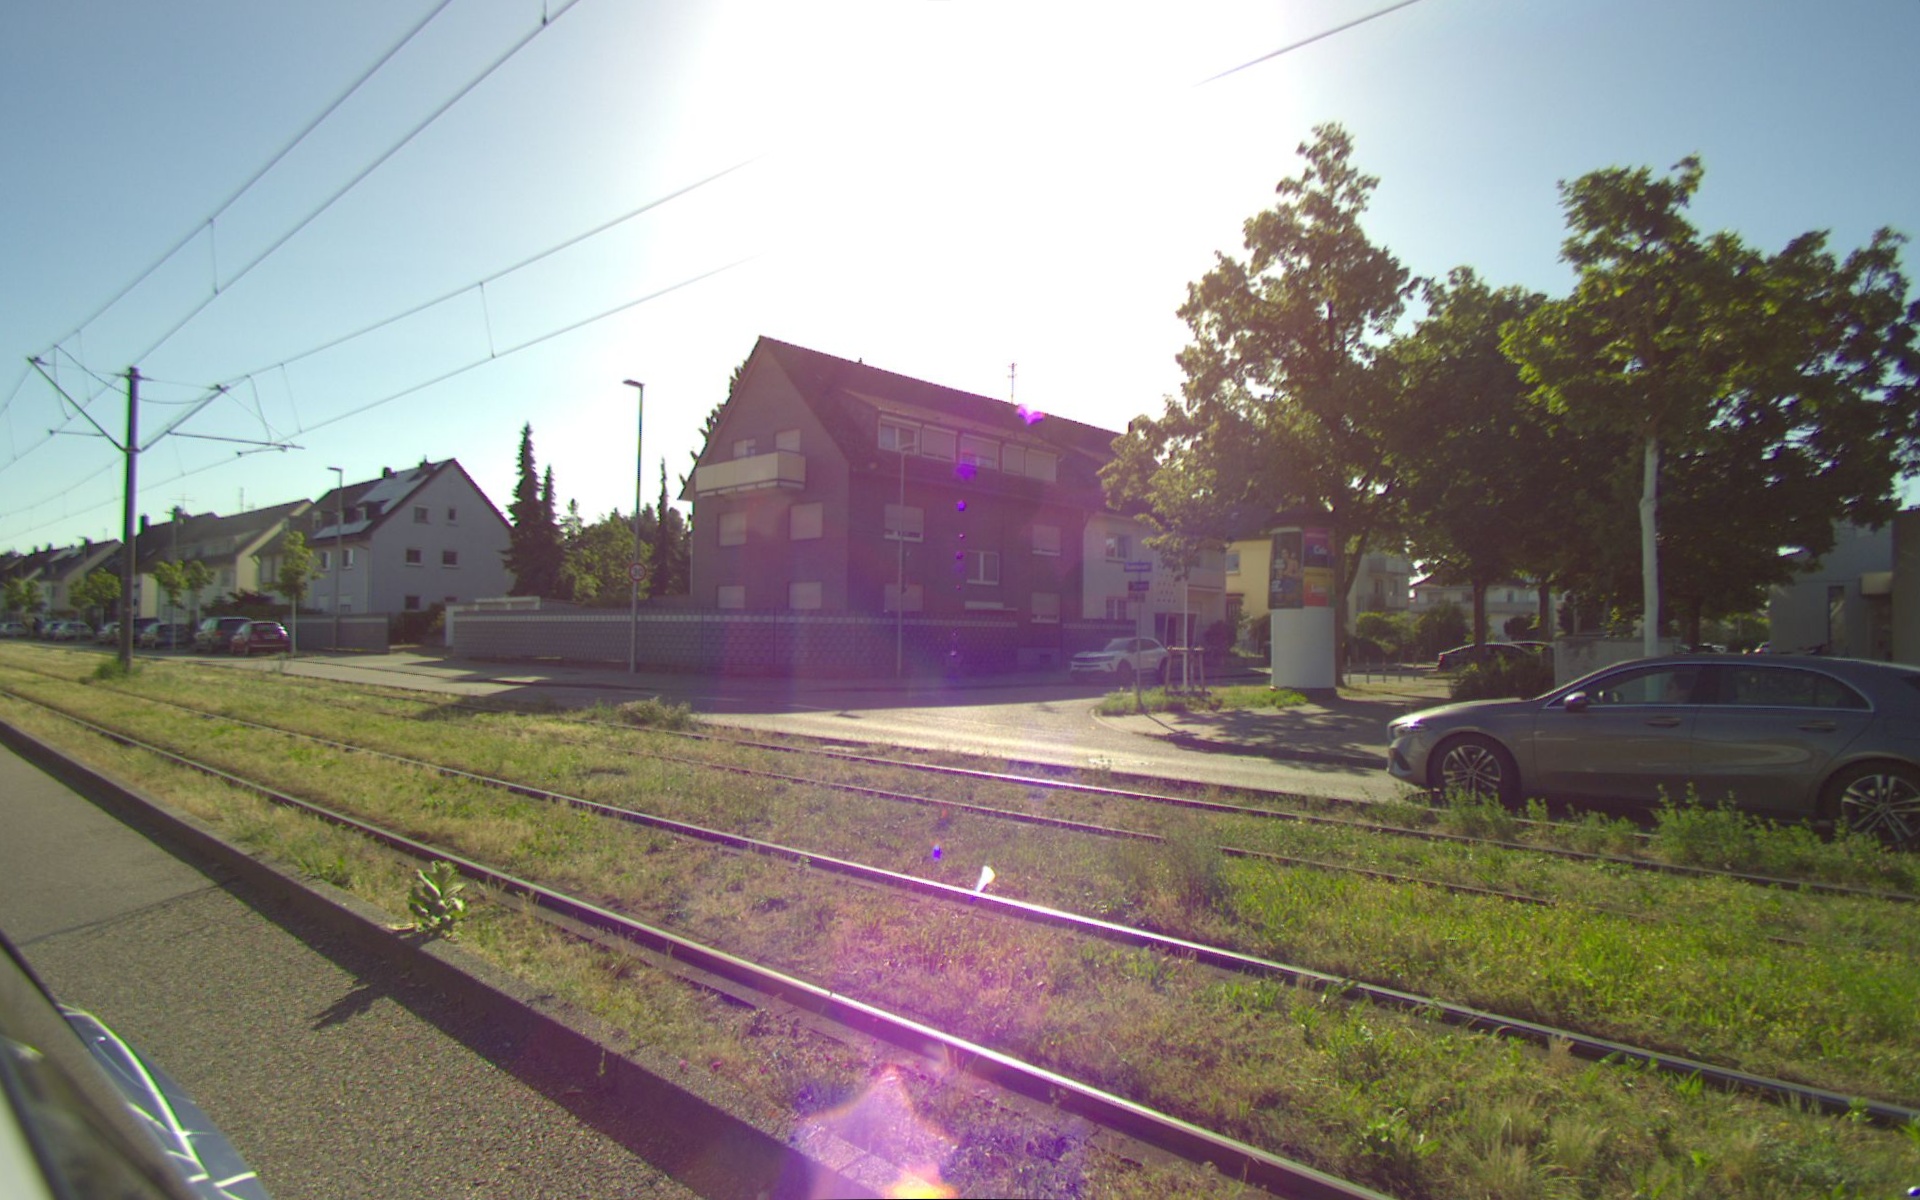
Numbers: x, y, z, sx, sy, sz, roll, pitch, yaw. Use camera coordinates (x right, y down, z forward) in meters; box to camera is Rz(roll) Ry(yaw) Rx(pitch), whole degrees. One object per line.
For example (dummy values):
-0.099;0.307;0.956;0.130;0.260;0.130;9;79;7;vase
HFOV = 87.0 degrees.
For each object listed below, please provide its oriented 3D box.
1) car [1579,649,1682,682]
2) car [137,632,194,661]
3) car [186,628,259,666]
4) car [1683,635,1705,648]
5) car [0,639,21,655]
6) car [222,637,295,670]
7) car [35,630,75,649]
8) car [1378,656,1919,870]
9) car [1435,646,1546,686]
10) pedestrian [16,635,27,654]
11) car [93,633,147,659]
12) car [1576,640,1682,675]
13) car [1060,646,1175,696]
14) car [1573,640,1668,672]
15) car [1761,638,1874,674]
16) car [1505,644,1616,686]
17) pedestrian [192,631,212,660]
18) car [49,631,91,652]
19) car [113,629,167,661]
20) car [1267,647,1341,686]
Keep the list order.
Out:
32.446;3.138;49.006;1.703;1.496;3.832;1;-3;-43;car
-44.937;2.609;57.188;4.045;1.502;1.660;-2;-1;39;car
-35.276;2.233;48.352;4.843;1.697;1.800;-2;-1;41;car
85.487;4.827;117.853;3.227;1.343;1.437;0;-1;-43;car
-88.926;4.329;94.190;4.098;1.447;1.642;-2;-3;39;car
-31.165;2.350;44.926;4.077;1.415;1.677;-2;-4;41;car
-71.284;3.092;79.656;4.310;1.484;1.672;-1;-1;39;car
6.033;1.226;8.497;4.385;1.399;1.670;-1;-5;41;car
20.093;2.472;38.412;1.627;1.421;3.327;0;-3;-38;car
-92.923;4.415;100.200;0.676;1.829;0.611;-1;-1;31;pedestrian
-53.601;2.905;64.566;4.554;1.552;1.940;-1;-1;41;car
34.124;2.912;51.719;1.824;1.688;4.167;1;-3;-43;car
5.067;2.236;32.191;1.838;1.440;3.820;-4;-4;41;car
35.222;2.988;54.018;3.998;1.629;1.606;-3;-3;41;car
41.442;2.719;48.990;1.746;1.630;4.002;1;-3;-45;car
23.461;2.527;39.604;1.454;1.543;3.401;0;-3;-38;car
-43.992;2.610;58.738;0.919;1.652;0.689;-1;-1;39;pedestrian
-66.567;3.061;75.679;4.438;1.487;1.672;-1;-1;39;car
-49.602;2.708;61.176;4.838;1.837;1.727;-2;-1;41;car
14.501;2.761;42.546;1.725;1.473;3.580;-1;-1;41;car
